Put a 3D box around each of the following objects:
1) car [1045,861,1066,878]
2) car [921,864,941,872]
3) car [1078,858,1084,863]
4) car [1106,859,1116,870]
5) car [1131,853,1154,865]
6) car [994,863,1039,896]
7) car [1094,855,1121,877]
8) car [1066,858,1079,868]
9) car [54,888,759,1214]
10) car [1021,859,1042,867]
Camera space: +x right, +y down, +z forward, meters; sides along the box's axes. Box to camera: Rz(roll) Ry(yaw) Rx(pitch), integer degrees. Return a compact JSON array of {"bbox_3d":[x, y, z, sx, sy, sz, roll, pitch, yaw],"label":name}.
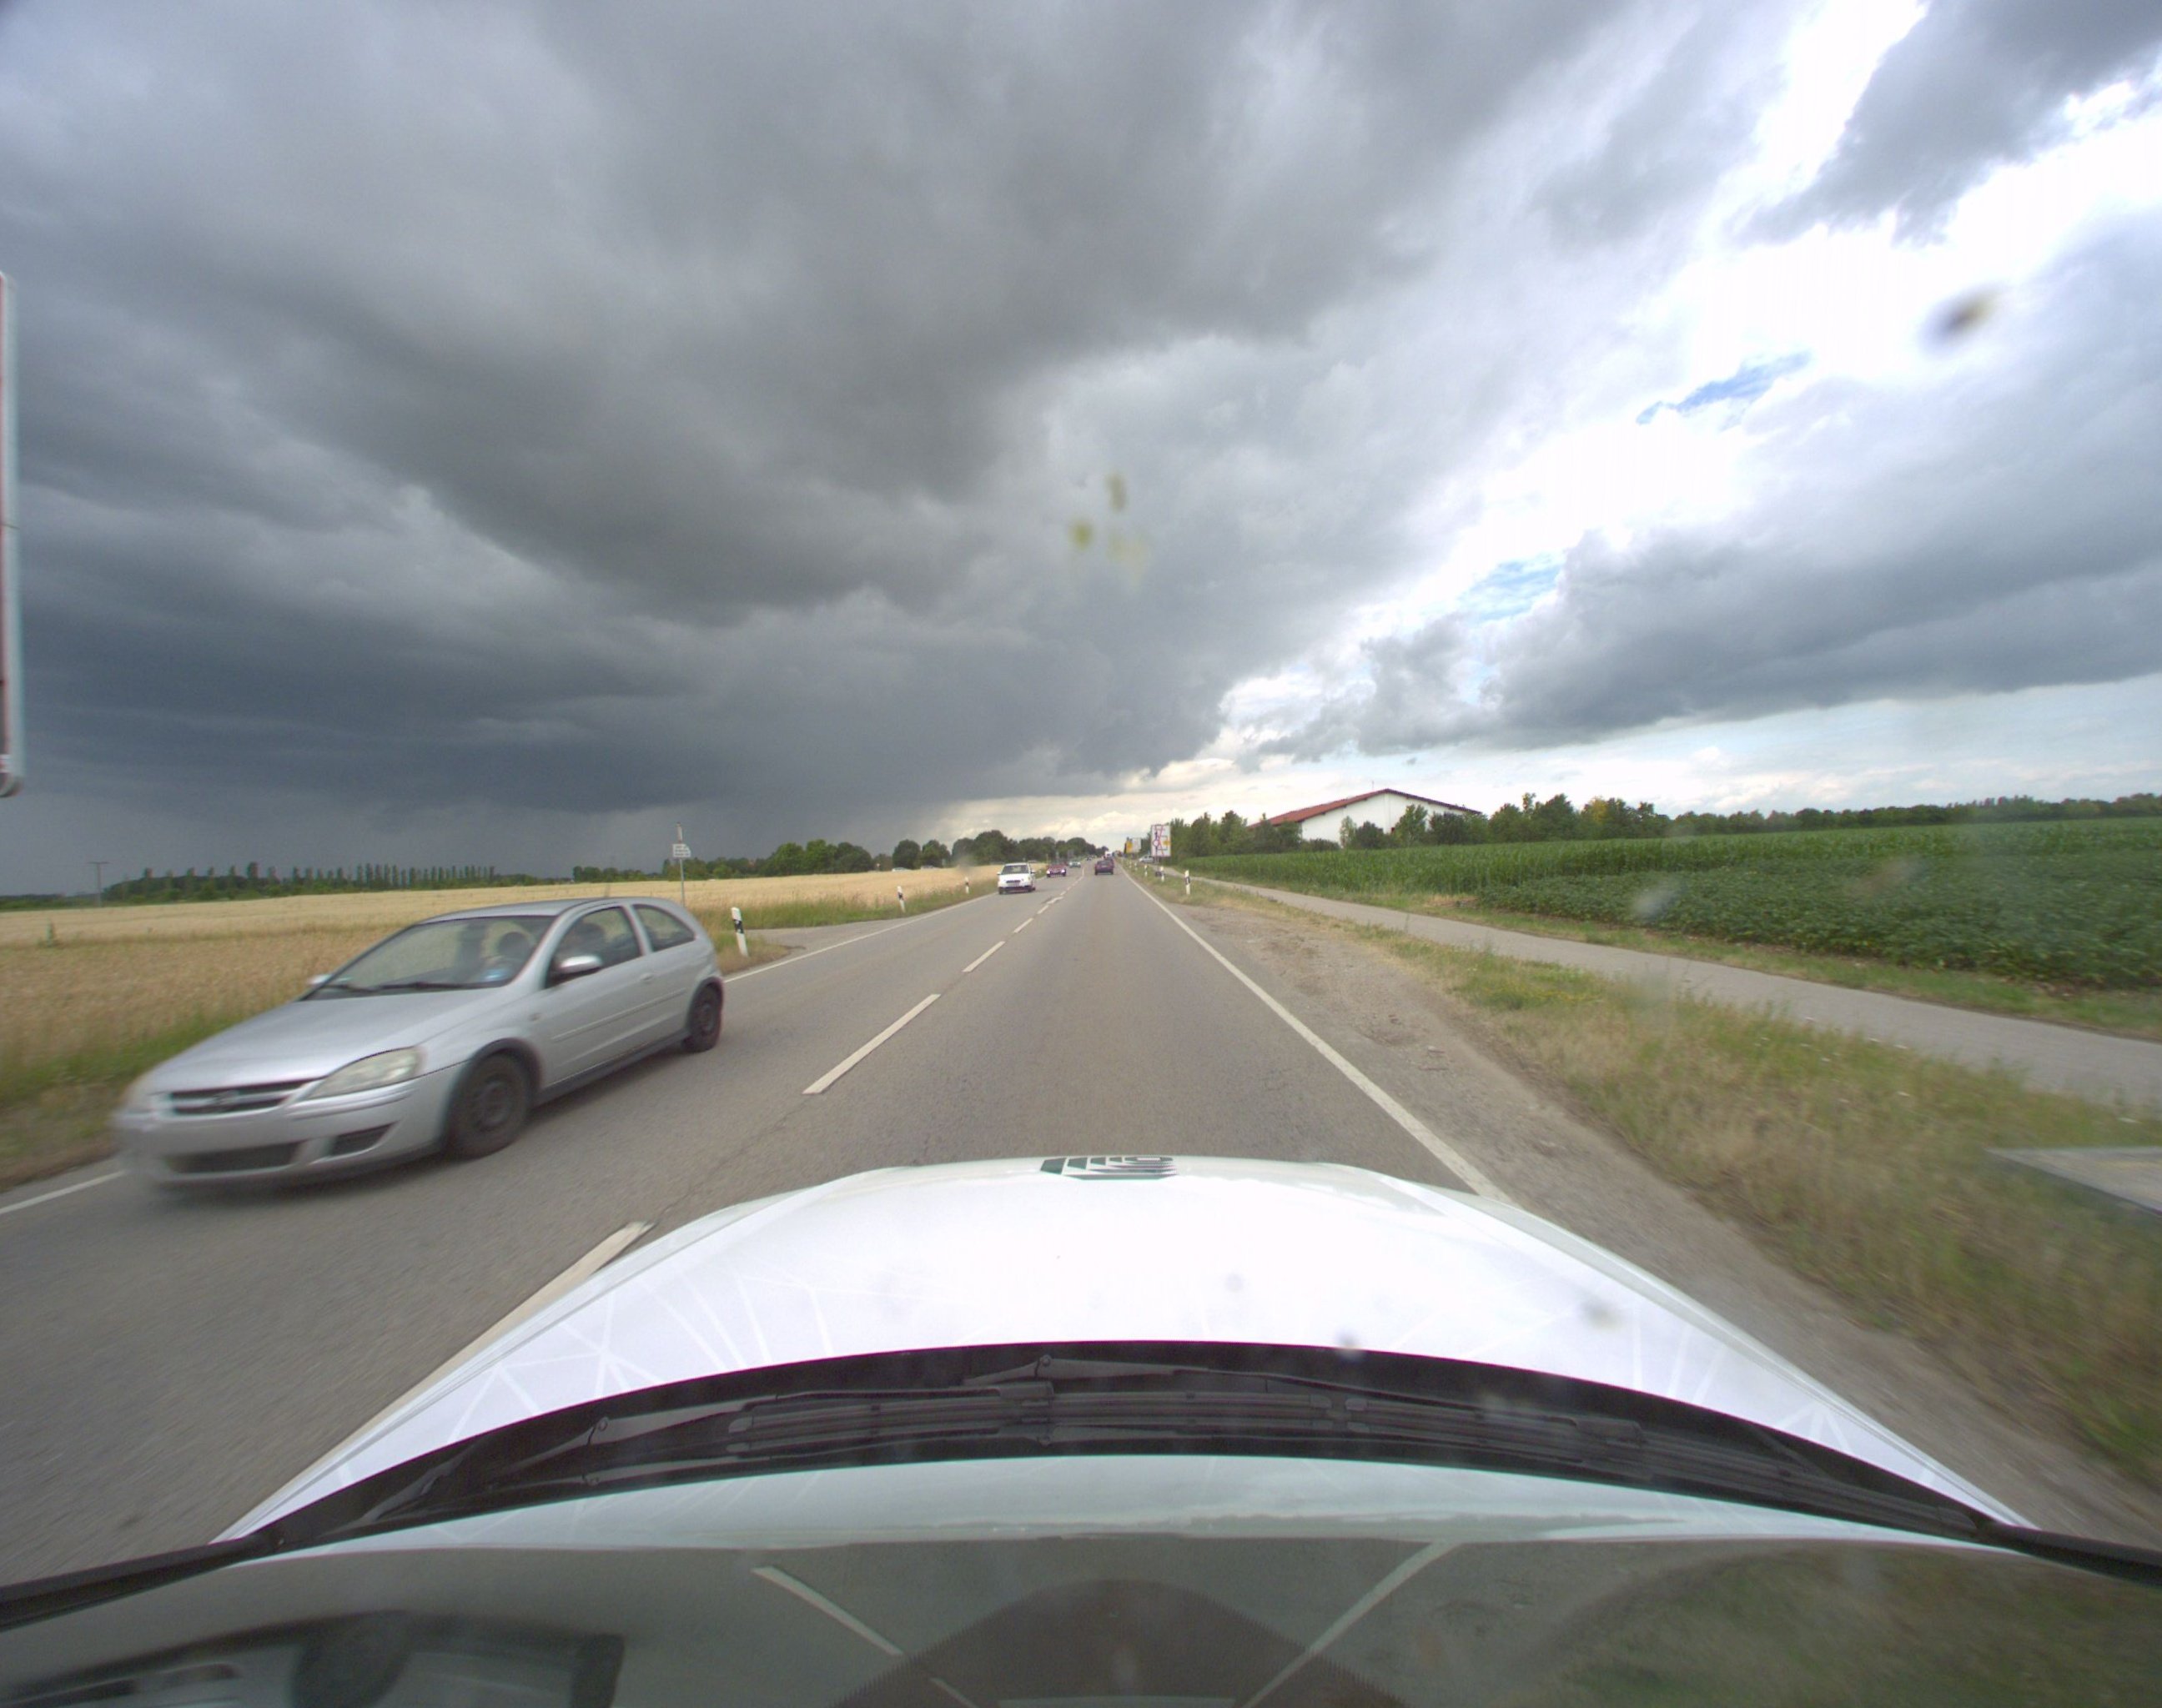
[{"bbox_3d":[-2.504,1.476,79.709,1.706,1.488,4.610,-3,0,2],"label":"car"},{"bbox_3d":[-33.116,3.146,179.853,4.051,1.649,1.869,-3,-1,6],"label":"car"},{"bbox_3d":[-0.023,2.143,259.242,1.639,1.590,4.002,-3,-1,2],"label":"car"},{"bbox_3d":[4.916,1.788,133.833,1.565,1.701,4.002,-2,-1,2],"label":"car"},{"bbox_3d":[13.553,1.057,179.653,4.822,2.452,2.004,-3,-1,-2],"label":"car"},{"bbox_3d":[-3.223,1.250,41.517,1.799,1.456,4.115,-3,0,2],"label":"car"},{"bbox_3d":[2.564,1.158,79.563,2.365,1.880,4.476,-4,-1,-1],"label":"car"},{"bbox_3d":[-1.509,1.603,147.438,2.057,1.580,4.767,-4,0,2],"label":"car"},{"bbox_3d":[-4.080,1.046,5.948,1.722,1.363,3.951,-3,0,2],"label":"car"},{"bbox_3d":[-10.759,1.952,177.462,4.403,1.649,1.500,-3,-1,-4],"label":"car"}]
